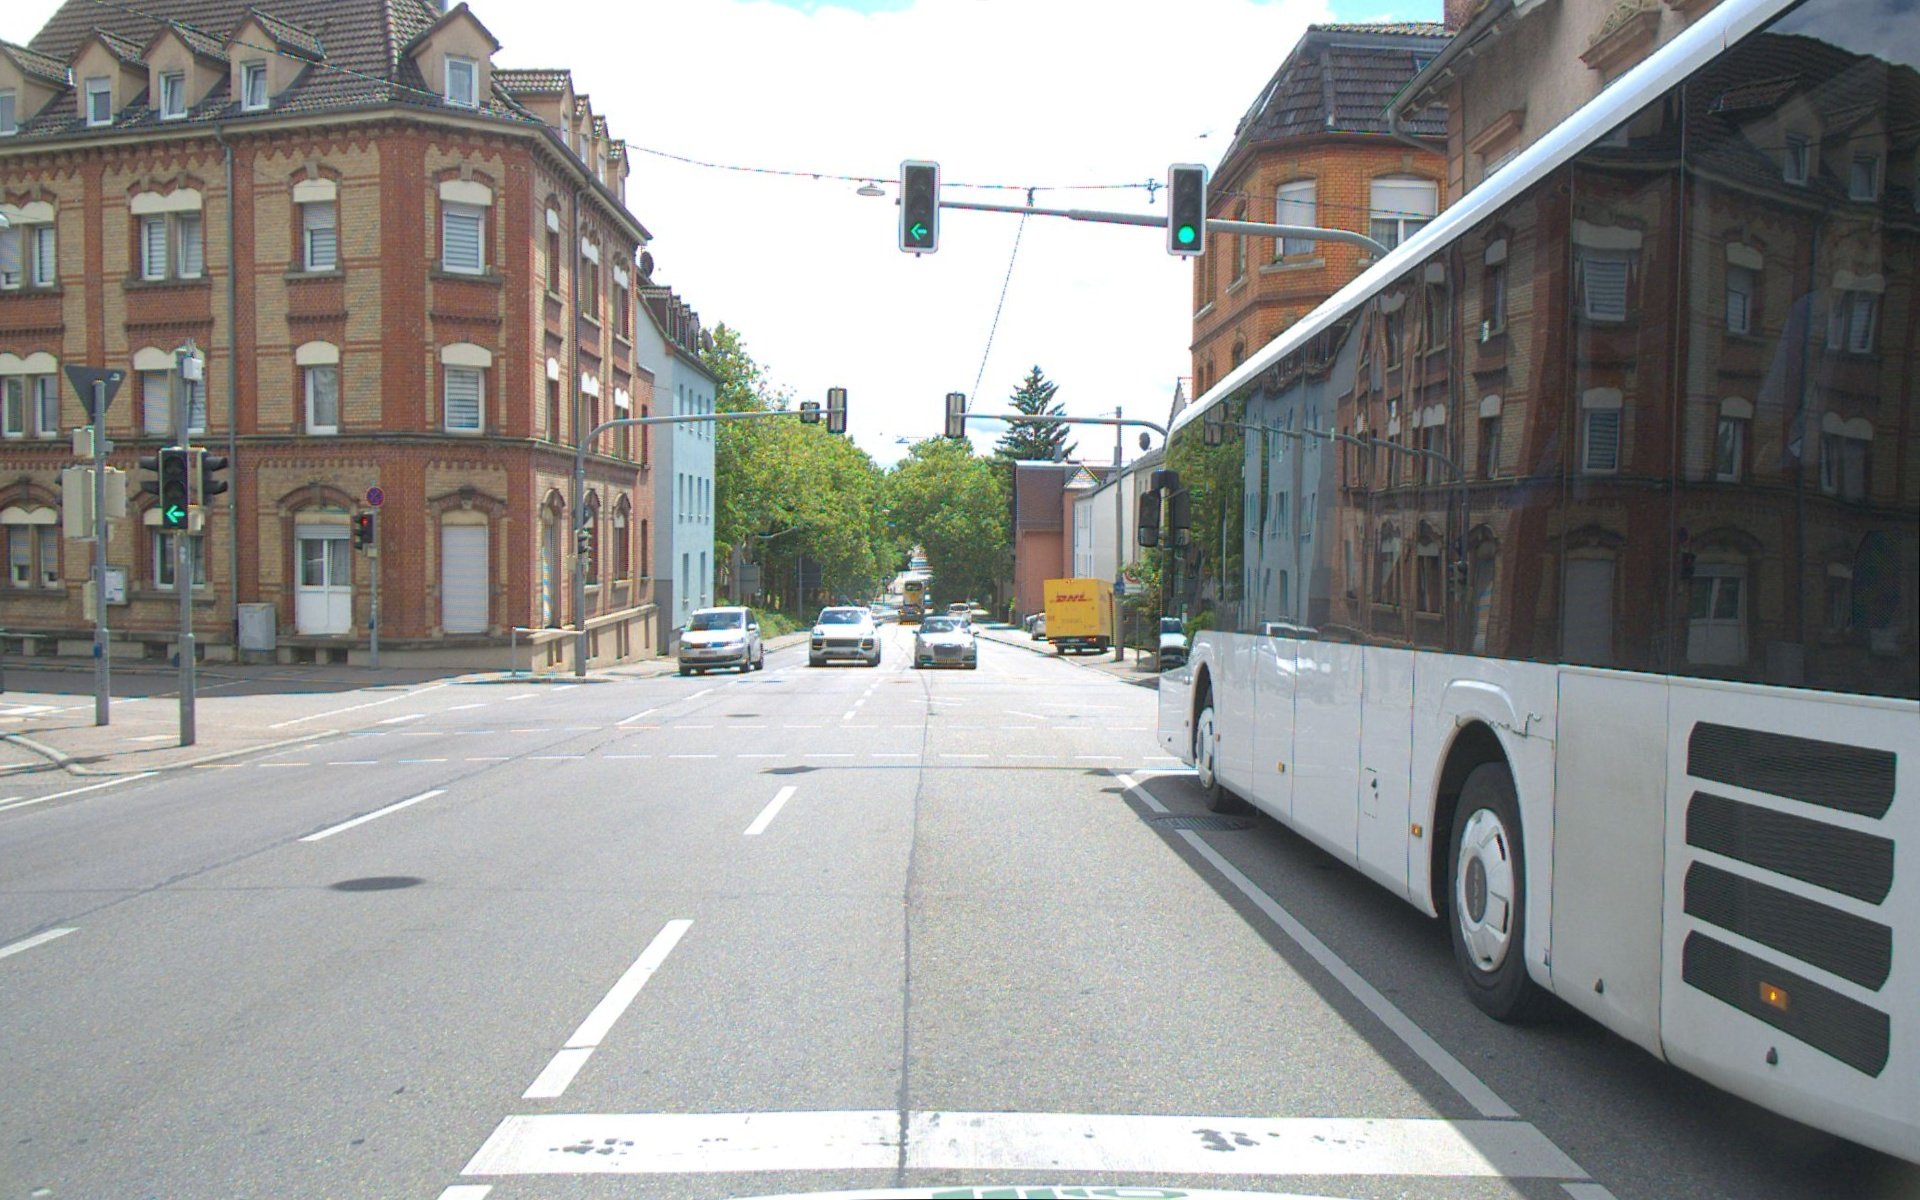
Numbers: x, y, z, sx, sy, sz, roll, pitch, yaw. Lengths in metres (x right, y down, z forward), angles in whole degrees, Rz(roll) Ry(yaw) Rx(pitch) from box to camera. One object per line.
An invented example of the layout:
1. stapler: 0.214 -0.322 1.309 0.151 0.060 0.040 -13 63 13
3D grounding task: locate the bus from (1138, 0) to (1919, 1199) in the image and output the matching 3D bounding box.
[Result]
1. bus: 3.201 -0.189 9.180 2.845 3.571 12.484 1 0 -1

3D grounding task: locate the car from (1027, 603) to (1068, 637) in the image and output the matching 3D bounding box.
1. car: 4.895 1.099 93.060 1.872 1.848 3.997 0 0 -3

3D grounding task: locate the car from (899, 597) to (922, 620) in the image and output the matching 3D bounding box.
1. car: -3.988 0.696 133.047 1.782 1.816 3.999 0 0 -1

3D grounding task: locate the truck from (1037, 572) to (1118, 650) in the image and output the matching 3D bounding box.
1. truck: 4.849 0.462 67.163 2.487 2.964 6.578 1 0 10

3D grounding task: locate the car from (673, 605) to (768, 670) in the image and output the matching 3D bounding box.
1. car: -6.169 0.931 43.097 1.896 1.591 4.388 0 0 -1

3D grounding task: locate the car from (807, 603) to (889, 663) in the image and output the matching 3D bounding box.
1. car: -3.222 0.932 48.406 2.162 1.641 4.546 0 0 -1

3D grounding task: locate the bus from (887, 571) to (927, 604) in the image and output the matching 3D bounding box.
1. bus: -6.173 -1.369 191.217 3.240 3.694 11.219 0 0 -9

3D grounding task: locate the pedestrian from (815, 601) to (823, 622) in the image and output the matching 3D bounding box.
1. pedestrian: -11.618 0.946 136.372 0.594 1.789 0.653 0 0 -2

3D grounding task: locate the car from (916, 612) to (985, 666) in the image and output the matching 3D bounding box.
1. car: -0.291 1.062 46.510 1.827 1.391 4.546 0 0 -1

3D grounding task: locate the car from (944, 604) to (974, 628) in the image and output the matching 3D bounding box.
1. car: -0.093 1.244 129.333 2.050 1.862 4.139 0 0 -4
